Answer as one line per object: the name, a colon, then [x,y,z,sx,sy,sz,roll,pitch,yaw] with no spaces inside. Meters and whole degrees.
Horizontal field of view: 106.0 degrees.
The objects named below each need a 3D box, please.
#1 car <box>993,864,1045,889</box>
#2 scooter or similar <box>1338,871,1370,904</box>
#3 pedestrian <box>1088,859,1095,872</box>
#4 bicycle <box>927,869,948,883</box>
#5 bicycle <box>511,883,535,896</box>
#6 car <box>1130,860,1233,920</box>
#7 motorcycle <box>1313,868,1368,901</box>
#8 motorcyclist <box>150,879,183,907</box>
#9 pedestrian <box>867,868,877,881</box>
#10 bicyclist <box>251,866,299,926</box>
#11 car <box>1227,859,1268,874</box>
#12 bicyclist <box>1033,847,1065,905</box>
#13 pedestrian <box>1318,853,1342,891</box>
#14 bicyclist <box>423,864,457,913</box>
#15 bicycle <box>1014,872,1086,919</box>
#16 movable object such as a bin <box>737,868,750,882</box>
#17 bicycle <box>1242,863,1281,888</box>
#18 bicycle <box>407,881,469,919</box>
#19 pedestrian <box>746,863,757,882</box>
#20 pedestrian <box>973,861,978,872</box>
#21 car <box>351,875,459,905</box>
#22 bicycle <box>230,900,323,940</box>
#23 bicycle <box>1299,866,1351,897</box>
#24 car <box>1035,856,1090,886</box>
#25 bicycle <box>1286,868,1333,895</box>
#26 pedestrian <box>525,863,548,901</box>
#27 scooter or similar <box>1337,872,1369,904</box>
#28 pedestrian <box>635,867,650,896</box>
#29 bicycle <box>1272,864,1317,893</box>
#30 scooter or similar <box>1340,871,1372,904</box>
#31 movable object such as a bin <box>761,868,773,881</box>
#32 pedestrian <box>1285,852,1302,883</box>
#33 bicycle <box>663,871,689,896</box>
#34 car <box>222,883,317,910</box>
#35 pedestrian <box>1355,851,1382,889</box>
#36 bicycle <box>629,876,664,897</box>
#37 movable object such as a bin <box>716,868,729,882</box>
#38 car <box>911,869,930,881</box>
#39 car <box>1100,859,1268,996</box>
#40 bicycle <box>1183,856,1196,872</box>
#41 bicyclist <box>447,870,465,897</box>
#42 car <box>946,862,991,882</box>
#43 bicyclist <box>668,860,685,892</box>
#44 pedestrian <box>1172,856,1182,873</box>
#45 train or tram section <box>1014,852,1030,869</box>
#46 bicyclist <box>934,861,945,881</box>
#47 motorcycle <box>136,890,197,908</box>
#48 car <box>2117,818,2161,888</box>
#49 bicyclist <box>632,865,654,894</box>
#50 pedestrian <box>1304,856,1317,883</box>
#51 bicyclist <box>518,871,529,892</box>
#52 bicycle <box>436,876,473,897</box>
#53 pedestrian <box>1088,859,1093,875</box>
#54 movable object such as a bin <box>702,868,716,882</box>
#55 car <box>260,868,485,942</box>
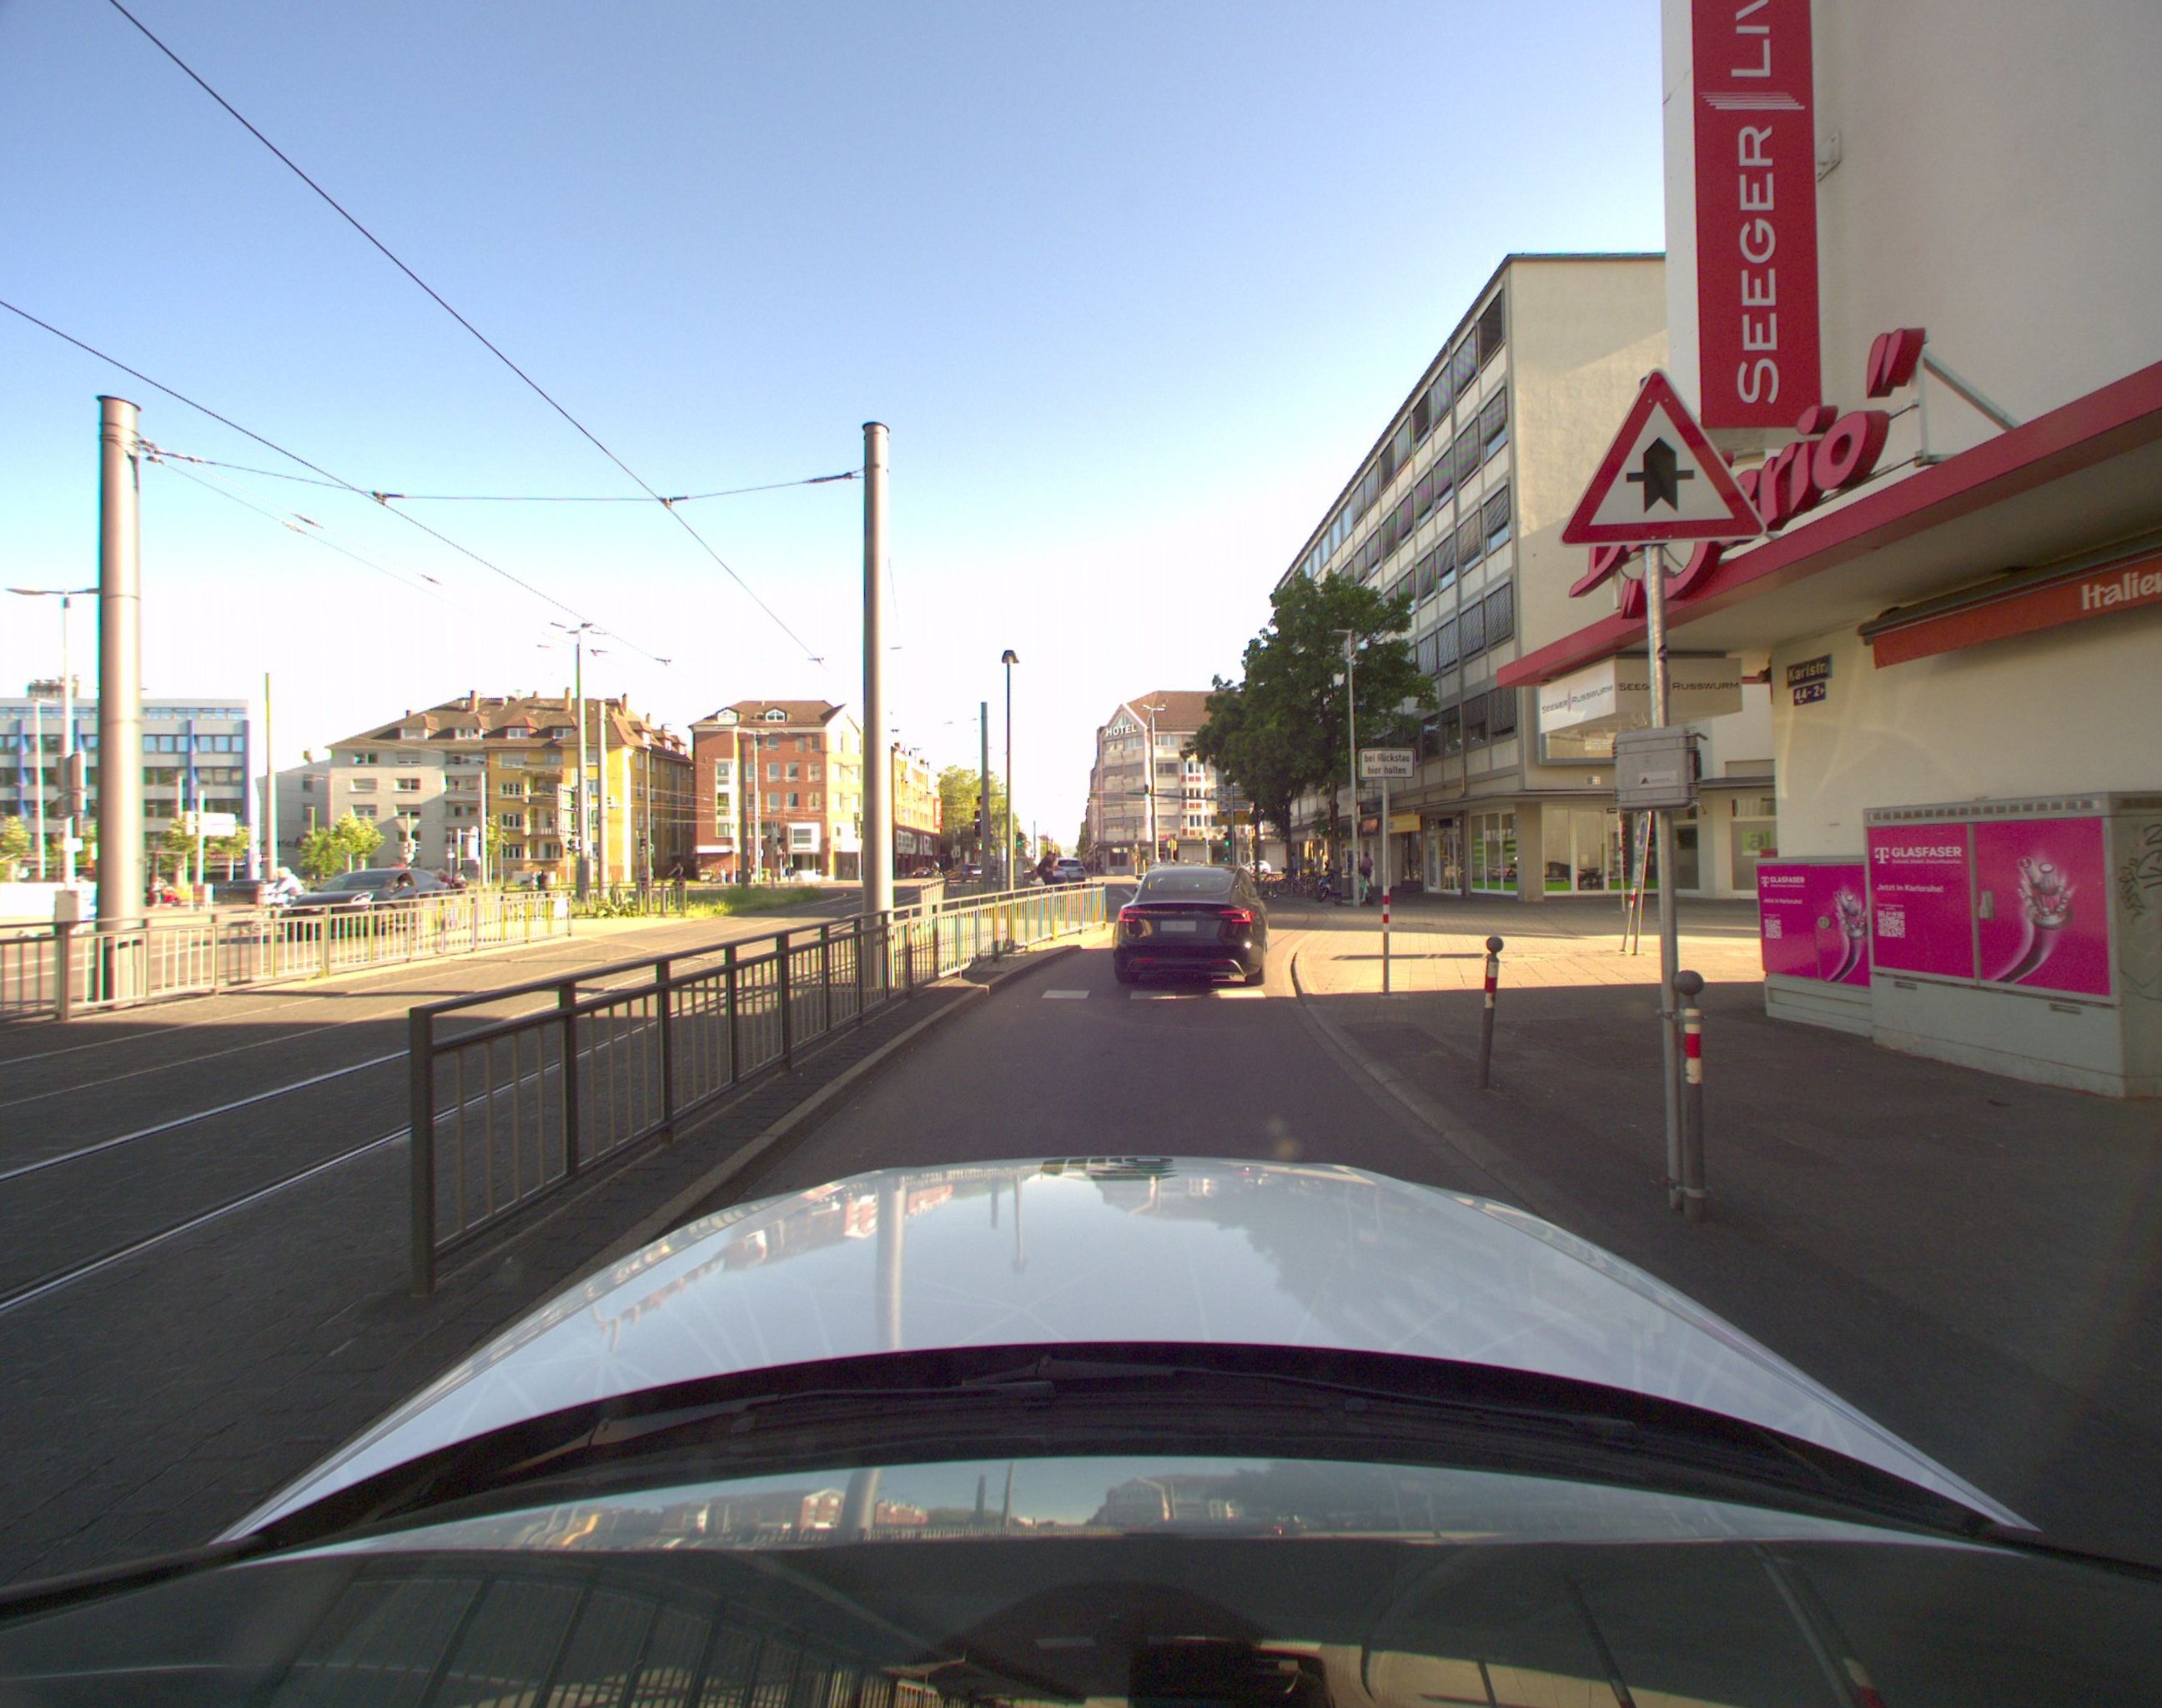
car: [-4.292,1.542,56.151,1.586,1.618,3.737,1,-1,-43]
scooter or similar: [8.875,1.084,26.447,0.952,1.039,0.160,-1,-1,4]
pedestrian: [1.337,1.497,105.986,0.911,1.755,0.839,0,-1,0]
bicycle: [-12.894,2.001,73.246,2.014,1.223,0.632,-1,-1,34]
bicycle: [-35.294,2.233,51.502,1.174,0.764,0.318,0,-1,-15]
car: [2.615,0.885,22.203,1.763,1.444,4.518,0,0,-7]
motorcycle: [9.094,1.049,28.553,1.781,1.130,0.504,0,-1,-1]
motorcyclist: [-51.878,2.211,46.207,0.919,1.524,0.781,0,-1,-5]
pedestrian: [-27.179,2.655,105.866,0.876,1.568,0.868,-1,-1,23]
bicyclist: [-22.840,1.187,23.089,0.517,1.673,0.773,-1,-1,12]
car: [17.481,1.319,85.541,3.833,1.432,1.801,-1,-3,-4]
bicyclist: [-0.869,0.589,21.790,0.684,1.523,0.630,0,-1,-22]
pedestrian: [11.215,0.808,36.701,0.840,1.707,0.880,0,-1,1]
bicyclist: [-22.268,1.201,28.290,0.518,1.673,0.771,-1,-1,3]
bicycle: [-0.825,1.090,21.797,1.828,1.212,0.637,0,-1,-23]
movable object such as a bin: [-36.174,2.237,87.380,0.995,1.437,1.093,0,-1,-8]
bicycle: [9.249,1.098,41.791,1.882,1.156,0.480,-3,-1,2]
bicycle: [-22.279,1.574,28.262,0.527,1.214,1.887,-1,-1,4]
pedestrian: [-29.962,1.643,74.021,0.694,1.710,0.928,0,-1,-5]
pedestrian: [-14.098,1.647,109.141,0.584,1.531,0.634,0,-1,-16]
car: [-39.626,2.079,47.806,4.548,1.509,1.777,-2,-1,-9]
bicycle: [-22.805,1.843,23.143,0.526,1.013,1.891,-1,-1,12]
bicycle: [9.155,1.027,30.573,1.850,1.056,0.398,-2,-1,-10]
car: [-1.088,0.941,45.673,1.848,1.635,3.457,0,-1,-25]
bicycle: [9.171,1.095,32.680,1.758,1.057,0.459,-1,-1,6]
pedestrian: [-28.147,1.460,42.110,0.788,1.934,0.730,-1,-1,32]
scooter or similar: [8.889,1.097,26.647,0.959,1.027,0.160,-1,-1,4]
pedestrian: [-26.575,1.672,49.359,0.624,1.688,0.703,0,1,-11]
bicycle: [9.087,1.044,34.682,1.805,1.151,0.435,-1,-1,-3]
scooter or similar: [8.861,1.069,26.249,0.959,1.043,0.160,-1,-1,4]
movable object such as a bin: [-33.814,2.196,87.628,0.995,1.437,1.093,0,-1,-8]
pedestrian: [11.798,0.750,45.211,0.837,1.721,0.883,-1,-1,14]
bicycle: [-21.649,1.564,43.578,0.573,1.291,2.022,0,-1,-6]
car: [-46.798,2.433,47.009,3.695,1.472,1.572,0,-1,-6]
pedestrian: [12.209,0.672,34.641,0.840,1.602,0.880,0,-1,1]
bicycle: [-21.802,1.633,40.871,0.647,1.013,1.887,-1,-1,4]
movable object such as a bin: [-38.460,2.234,87.263,0.995,1.437,1.093,0,-1,-8]
car: [-20.427,2.665,103.868,1.813,1.454,3.972,-2,-1,-3]
car: [1.560,0.814,10.956,1.778,1.451,3.954,-1,0,14]
bicycle: [10.267,0.967,77.187,0.583,1.463,1.678,-1,-1,-14]
bicyclist: [-34.737,1.621,45.266,0.615,1.493,0.607,0,-1,-12]
car: [-8.832,1.400,63.878,3.430,1.551,1.741,-1,-1,44]
bicyclist: [-21.653,1.170,43.609,0.588,1.649,0.804,0,-1,-8]
pedestrian: [9.075,0.958,77.054,0.780,1.576,0.864,0,0,-13]
train or tram section: [-12.304,1.440,170.379,2.720,3.542,10.083,0,-1,0]
bicyclist: [-12.708,1.540,73.123,0.819,1.772,0.618,-1,-2,33]
motorcycle: [-51.858,2.562,46.207,2.355,0.984,0.789,0,-1,-6]
car: [24.891,-0.042,16.339,4.770,1.432,1.893,-1,2,22]
bicyclist: [-21.847,1.277,40.667,0.660,1.454,0.731,-1,-1,4]
pedestrian: [12.583,0.854,44.610,0.640,1.422,0.623,-1,-1,13]
bicyclist: [-35.276,1.758,51.542,0.459,1.316,0.398,0,-1,-14]
bicycle: [-34.787,1.791,45.248,1.497,1.133,0.609,0,-1,-13]
pedestrian: [1.082,1.513,94.319,0.624,1.782,0.917,0,-1,-1]
movable object such as a bin: [-39.737,2.244,87.016,0.995,1.437,1.093,0,-1,-8]
car: [-16.483,1.108,19.282,1.679,1.560,4.121,0,-1,0]
